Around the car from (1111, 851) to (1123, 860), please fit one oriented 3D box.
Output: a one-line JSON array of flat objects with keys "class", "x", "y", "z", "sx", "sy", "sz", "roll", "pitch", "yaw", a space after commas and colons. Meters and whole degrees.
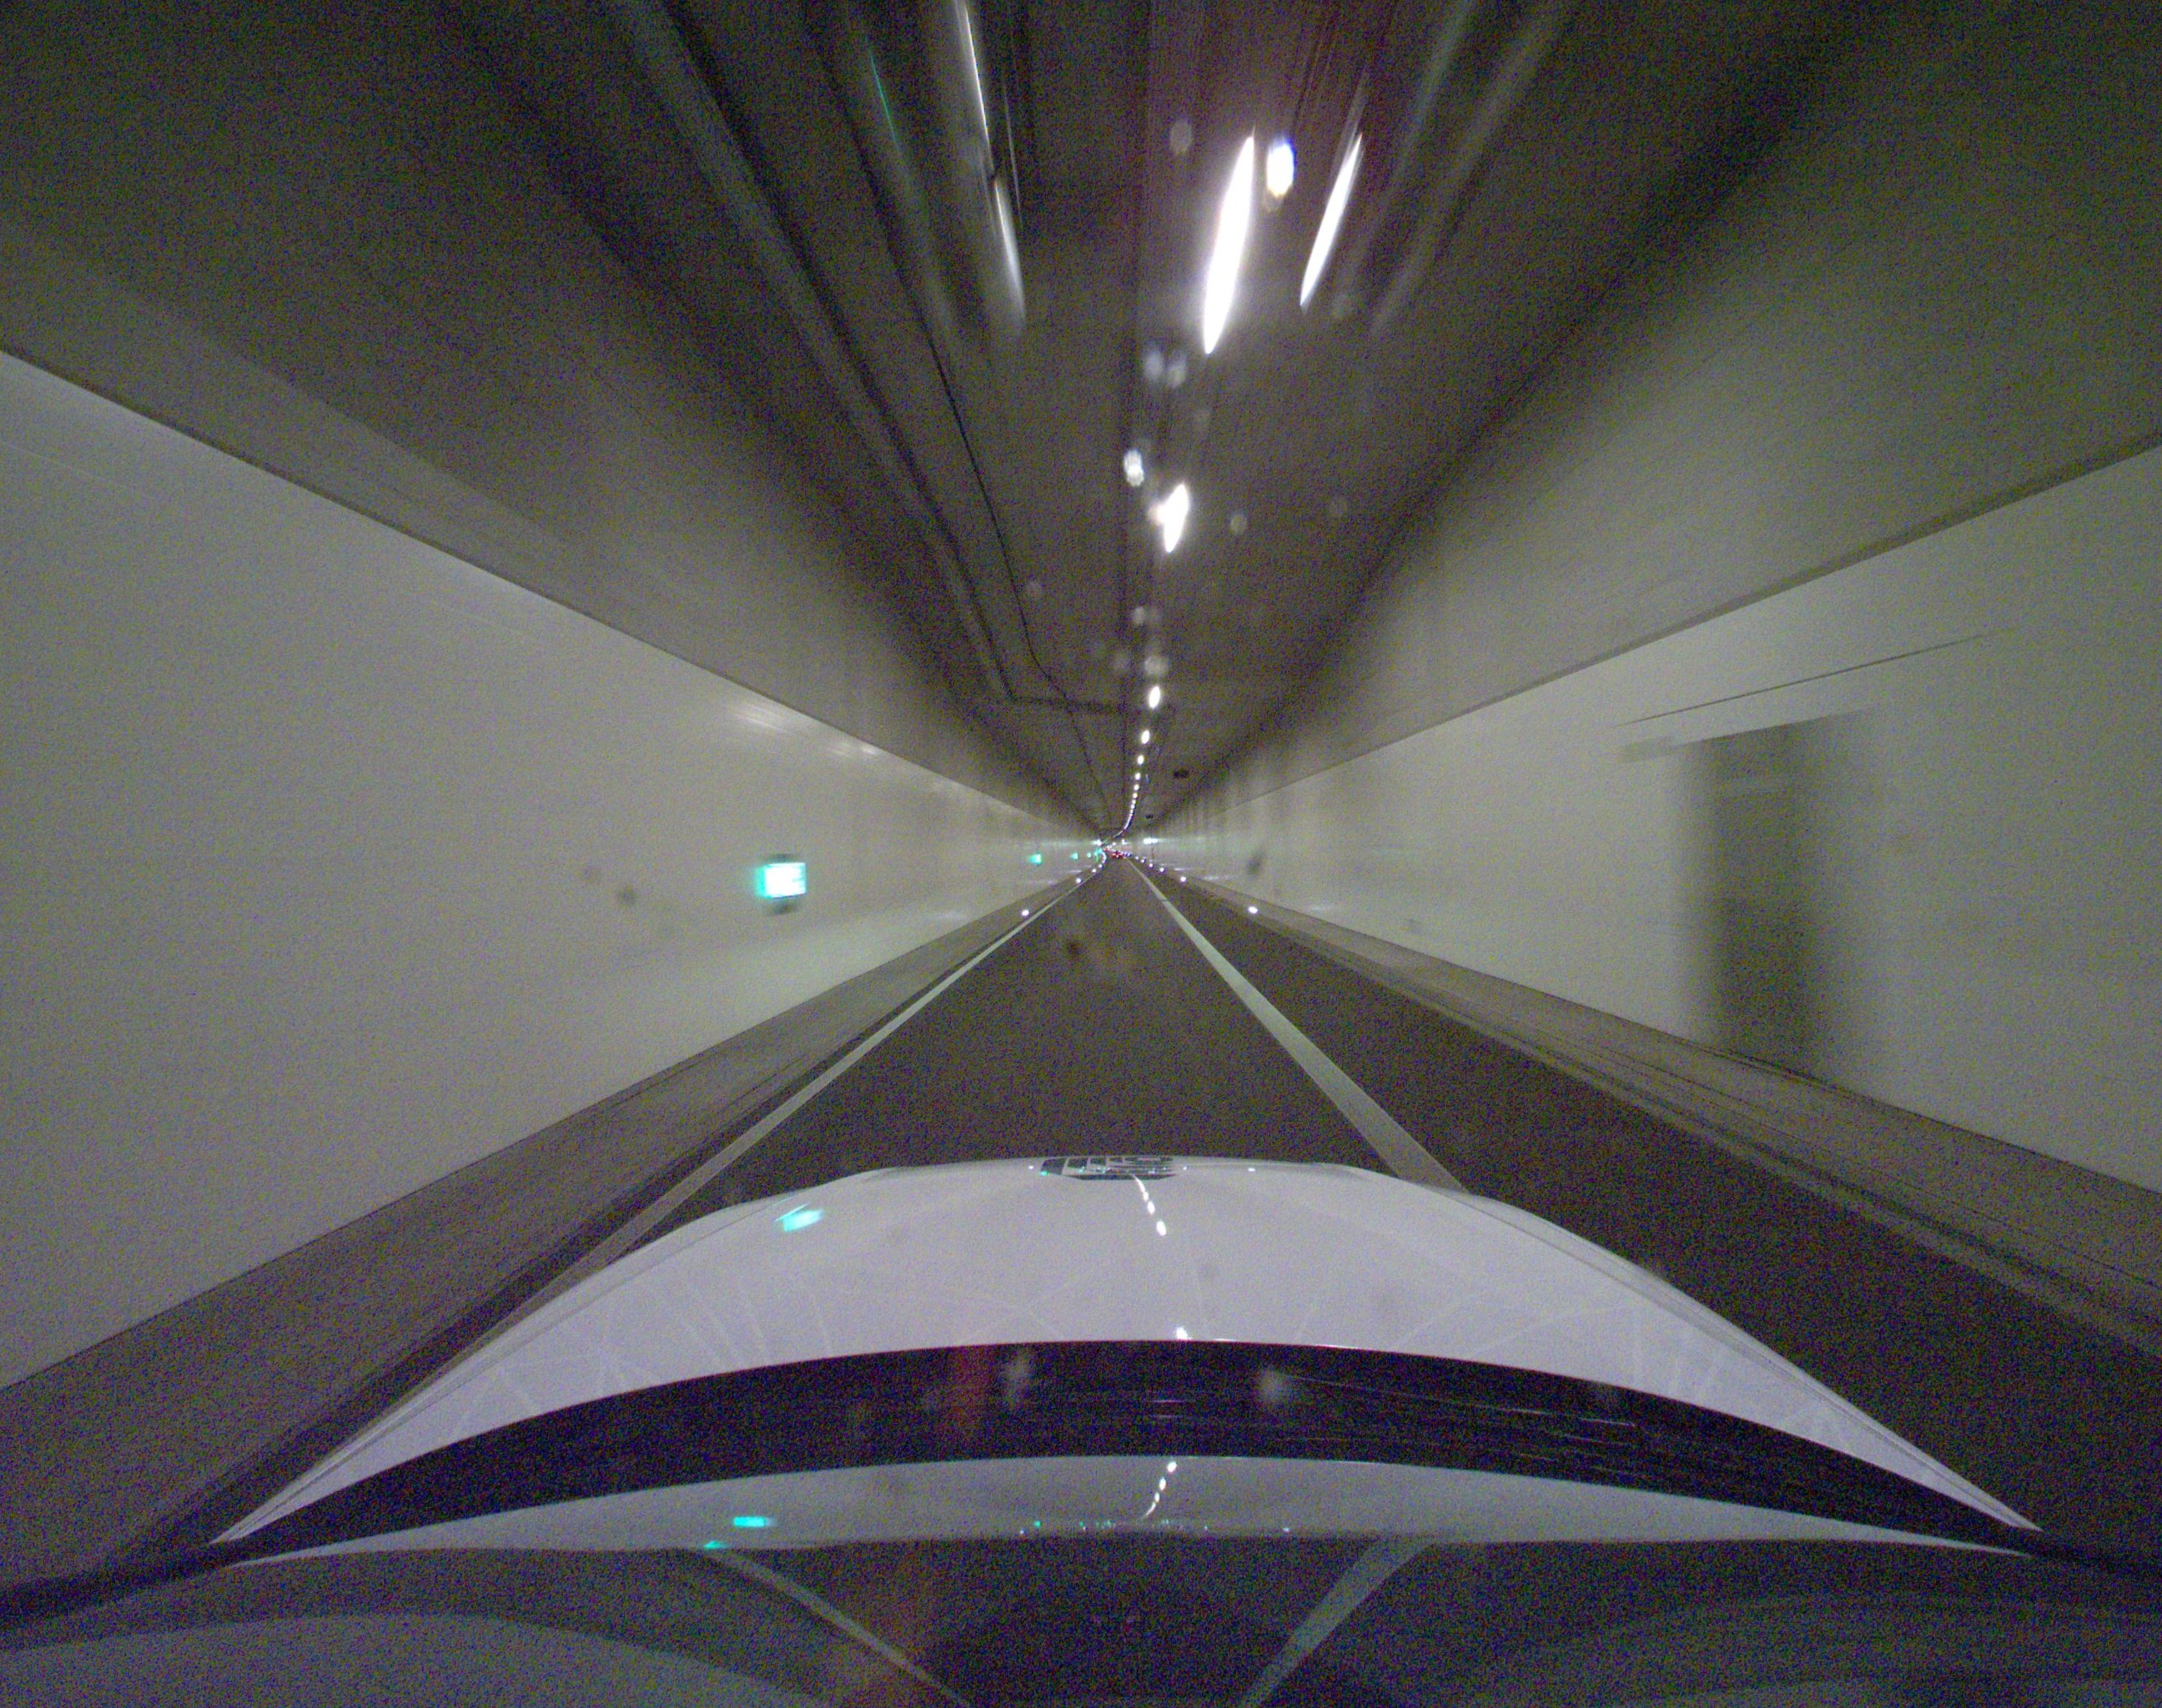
[{"class": "car", "x": 6.259, "y": 0.214, "z": 141.450, "sx": 1.987, "sy": 1.420, "sz": 4.000, "roll": 1, "pitch": 0, "yaw": 0}]
